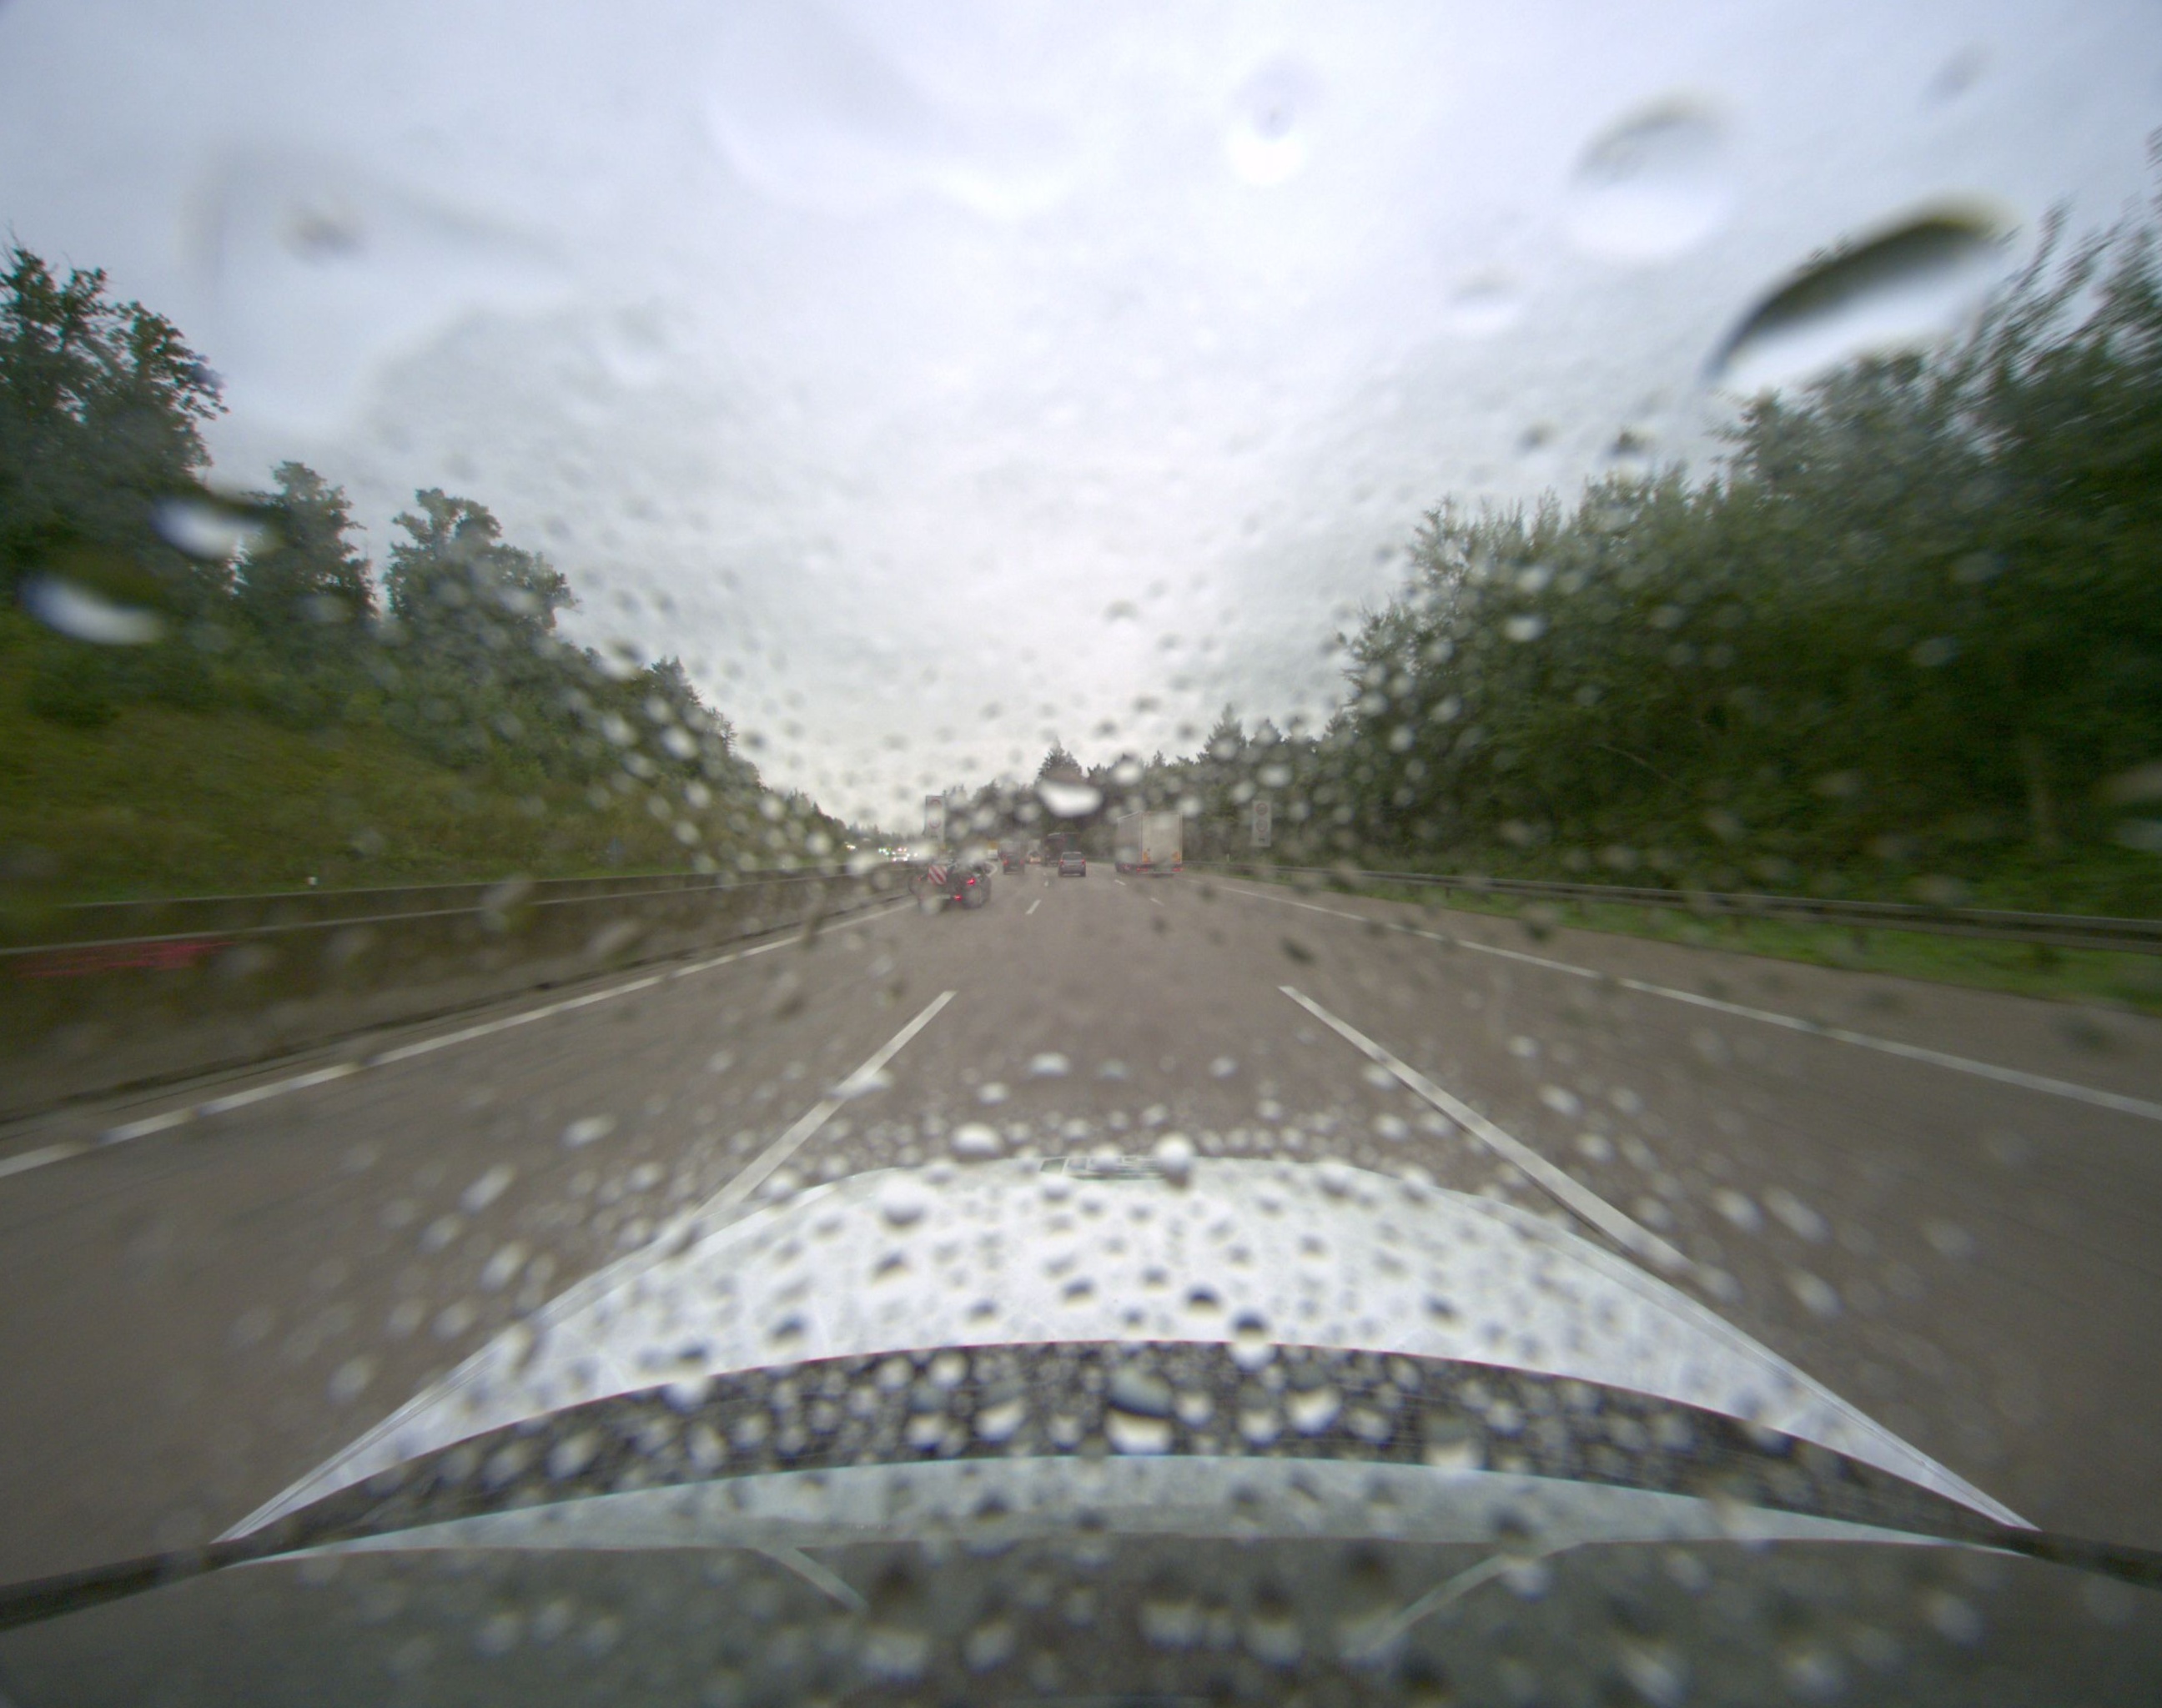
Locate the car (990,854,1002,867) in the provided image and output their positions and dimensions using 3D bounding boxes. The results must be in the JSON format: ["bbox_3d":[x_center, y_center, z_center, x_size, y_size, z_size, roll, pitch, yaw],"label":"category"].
[{"bbox_3d":[-13.608,1.056,130.686,1.722,2.014,3.650,-1,0,-5],"label":"car"}]

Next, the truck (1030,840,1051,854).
[{"bbox_3d":[-7.227,-1.227,144.113,2.973,2.309,6.647,1,0,-9],"label":"truck"}]

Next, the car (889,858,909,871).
[{"bbox_3d":[-22.602,1.309,101.079,1.773,1.518,3.995,-1,0,-4],"label":"car"}]

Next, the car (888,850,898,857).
[{"bbox_3d":[-43.359,-0.042,187.559,1.774,1.638,4.244,-1,0,-6],"label":"car"}]

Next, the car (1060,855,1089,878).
[{"bbox_3d":[-0.438,0.795,53.539,1.551,1.351,3.676,1,0,-6],"label":"car"}]

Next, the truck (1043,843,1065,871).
[{"bbox_3d":[-2.983,0.287,90.481,2.263,2.886,7.900,0,1,-1],"label":"truck"}]

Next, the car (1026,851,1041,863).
[{"bbox_3d":[-6.182,0.347,106.204,1.877,1.473,3.996,1,0,-2],"label":"car"}]

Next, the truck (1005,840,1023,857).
[{"bbox_3d":[-11.911,-1.082,143.868,3.078,2.905,7.888,-1,1,-6],"label":"truck"}]

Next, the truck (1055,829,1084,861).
[{"bbox_3d":[-1.676,-1.255,111.411,3.363,4.131,10.422,-1,0,-4],"label":"truck"}]

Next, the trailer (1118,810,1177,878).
[{"bbox_3d":[4.232,-0.634,54.582,2.414,4.068,12.042,-1,0,-3],"label":"trailer"}]

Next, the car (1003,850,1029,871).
[{"bbox_3d":[-4.860,0.465,61.339,1.679,1.462,3.681,1,0,-2],"label":"car"}]

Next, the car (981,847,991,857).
[{"bbox_3d":[-20.542,-0.438,176.179,1.993,2.059,3.988,-1,0,-9],"label":"car"}]

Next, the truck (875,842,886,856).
[{"bbox_3d":[-61.992,-1.623,252.060,2.747,4.284,8.281,-1,0,-12],"label":"truck"}]

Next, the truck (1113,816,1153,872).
[{"bbox_3d":[3.882,-0.727,61.698,2.414,4.068,4.973,-1,0,-3],"label":"truck"}]

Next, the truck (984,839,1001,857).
[{"bbox_3d":[-21.850,-1.377,201.204,3.739,4.210,6.797,-1,-1,-9],"label":"truck"}]
